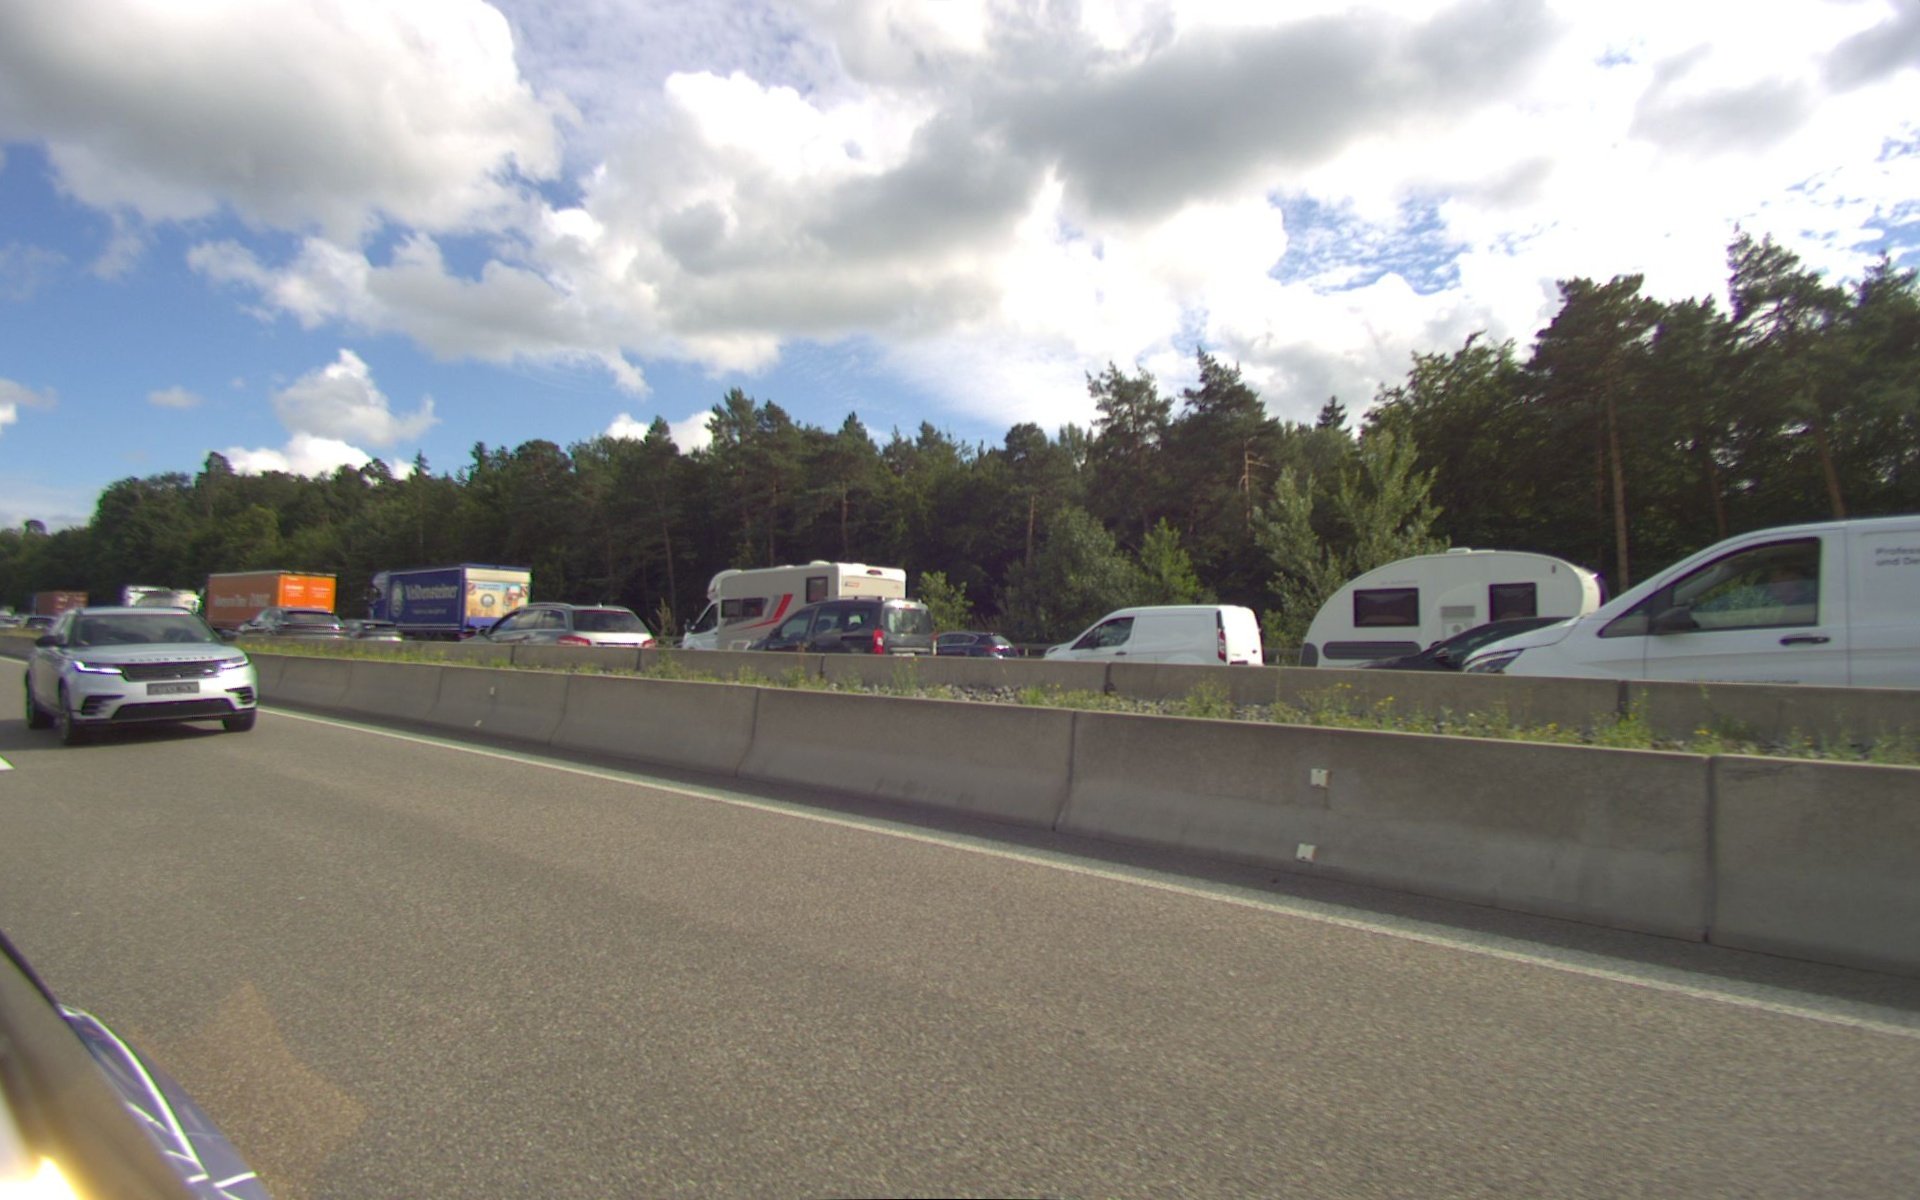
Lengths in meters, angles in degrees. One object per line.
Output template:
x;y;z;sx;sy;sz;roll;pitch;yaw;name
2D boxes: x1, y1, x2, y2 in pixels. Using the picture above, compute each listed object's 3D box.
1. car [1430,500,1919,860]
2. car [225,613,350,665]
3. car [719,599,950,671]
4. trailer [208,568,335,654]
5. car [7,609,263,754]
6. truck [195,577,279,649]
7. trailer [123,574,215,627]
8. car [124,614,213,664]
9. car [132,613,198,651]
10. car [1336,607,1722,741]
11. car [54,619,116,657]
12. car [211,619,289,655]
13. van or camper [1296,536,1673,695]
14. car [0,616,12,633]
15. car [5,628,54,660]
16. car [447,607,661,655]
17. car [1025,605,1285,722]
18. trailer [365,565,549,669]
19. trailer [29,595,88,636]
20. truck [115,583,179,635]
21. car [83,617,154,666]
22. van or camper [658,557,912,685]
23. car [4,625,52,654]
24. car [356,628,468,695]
6.199;0.481;6.481;5.497;2.078;1.813;-1;-3;41;car
-19.696;1.101;29.549;4.900;1.398;1.813;-1;-1;41;car
-2.495;0.634;19.419;4.563;1.240;1.813;-1;-1;41;car
-38.700;0.576;56.569;13.171;4.352;2.612;0;0;41;trailer
-11.312;0.975;13.727;5.103;1.619;1.880;-2;-1;41;car
-43.371;0.801;60.632;6.714;4.102;2.587;-1;-1;41;truck
-57.058;0.082;72.832;12.226;3.524;2.919;0;0;41;trailer
-30.022;1.449;38.338;4.627;1.777;1.798;-1;-1;41;car
-43.954;1.716;55.900;4.988;1.974;1.973;0;0;41;car
6.405;0.756;11.569;3.588;1.266;1.646;-1;0;41;car
-46.772;1.997;54.052;4.900;1.896;1.798;-1;-1;41;car
-31.399;1.588;44.705;4.900;1.494;1.706;-1;-1;41;car
7.826;0.231;15.336;4.684;2.026;2.260;-1;0;40;van or camper
-68.528;1.715;71.589;4.352;1.182;1.579;-1;-1;40;car
-58.884;2.773;64.006;4.902;1.896;1.797;-1;-1;42;car
-7.193;0.518;17.706;4.444;0.730;1.630;-1;-1;41;car
3.550;1.099;18.965;4.479;1.930;1.813;-1;-1;41;car
-20.182;0.676;40.179;10.215;3.686;2.858;-1;-1;41;trailer
-91.612;1.536;102.719;12.885;4.013;2.919;0;0;41;trailer
-61.847;0.705;76.988;5.106;3.775;2.926;-1;-1;41;truck
-37.664;1.824;45.250;4.681;2.029;1.725;0;0;41;car
-4.773;0.443;26.457;7.479;2.911;2.444;1;0;42;van or camper
-58.904;2.458;63.931;4.902;1.759;1.797;-1;-1;42;car
-18.515;1.992;34.107;4.634;2.076;1.813;-1;-1;41;car
